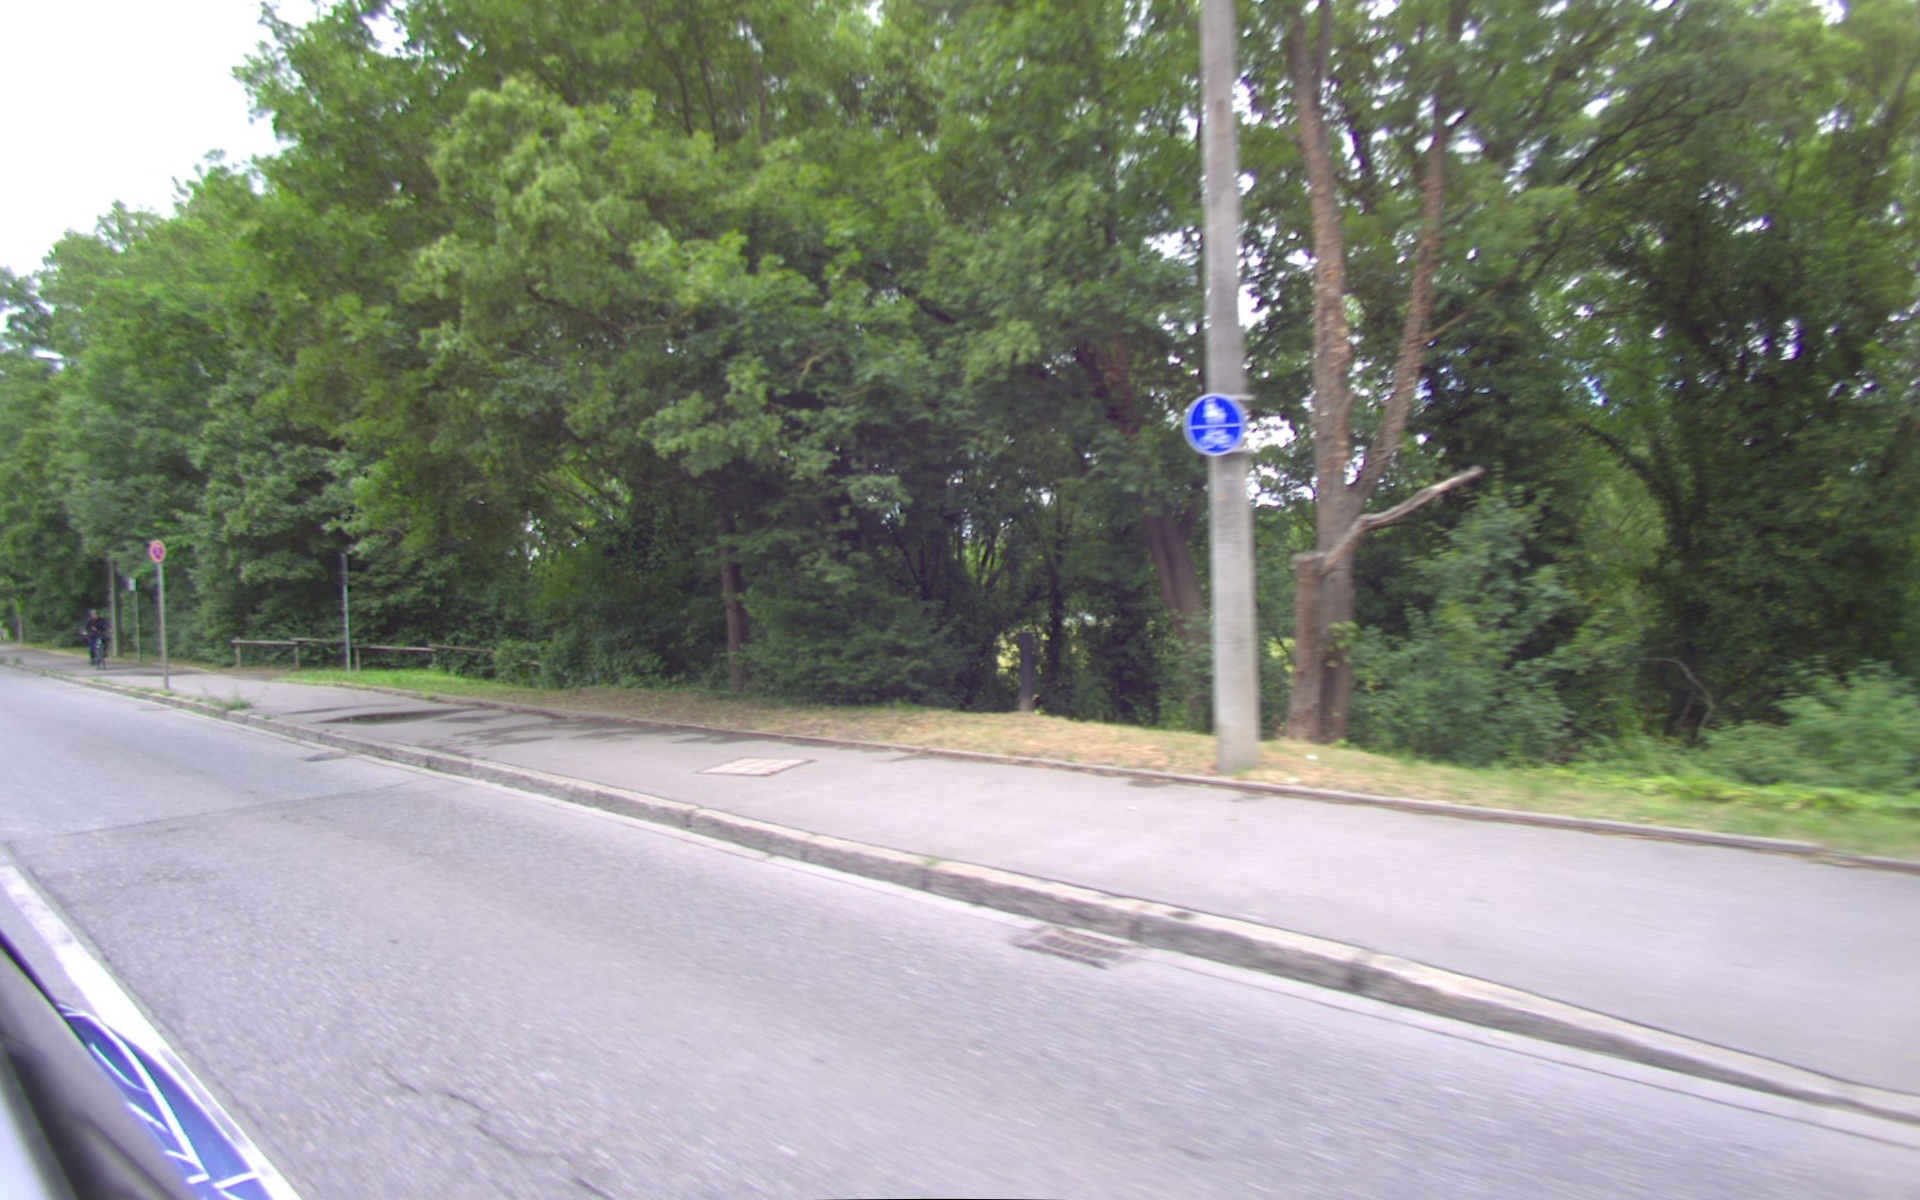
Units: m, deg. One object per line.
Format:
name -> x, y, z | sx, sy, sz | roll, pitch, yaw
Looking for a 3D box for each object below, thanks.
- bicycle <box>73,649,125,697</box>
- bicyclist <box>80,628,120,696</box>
bicycle -> -25.982, 2.172, 30.528 | 2.277, 1.341, 0.692 | -2, 2, 38
bicyclist -> -25.829, 1.855, 30.391 | 0.834, 1.962, 0.680 | -2, 1, 38
